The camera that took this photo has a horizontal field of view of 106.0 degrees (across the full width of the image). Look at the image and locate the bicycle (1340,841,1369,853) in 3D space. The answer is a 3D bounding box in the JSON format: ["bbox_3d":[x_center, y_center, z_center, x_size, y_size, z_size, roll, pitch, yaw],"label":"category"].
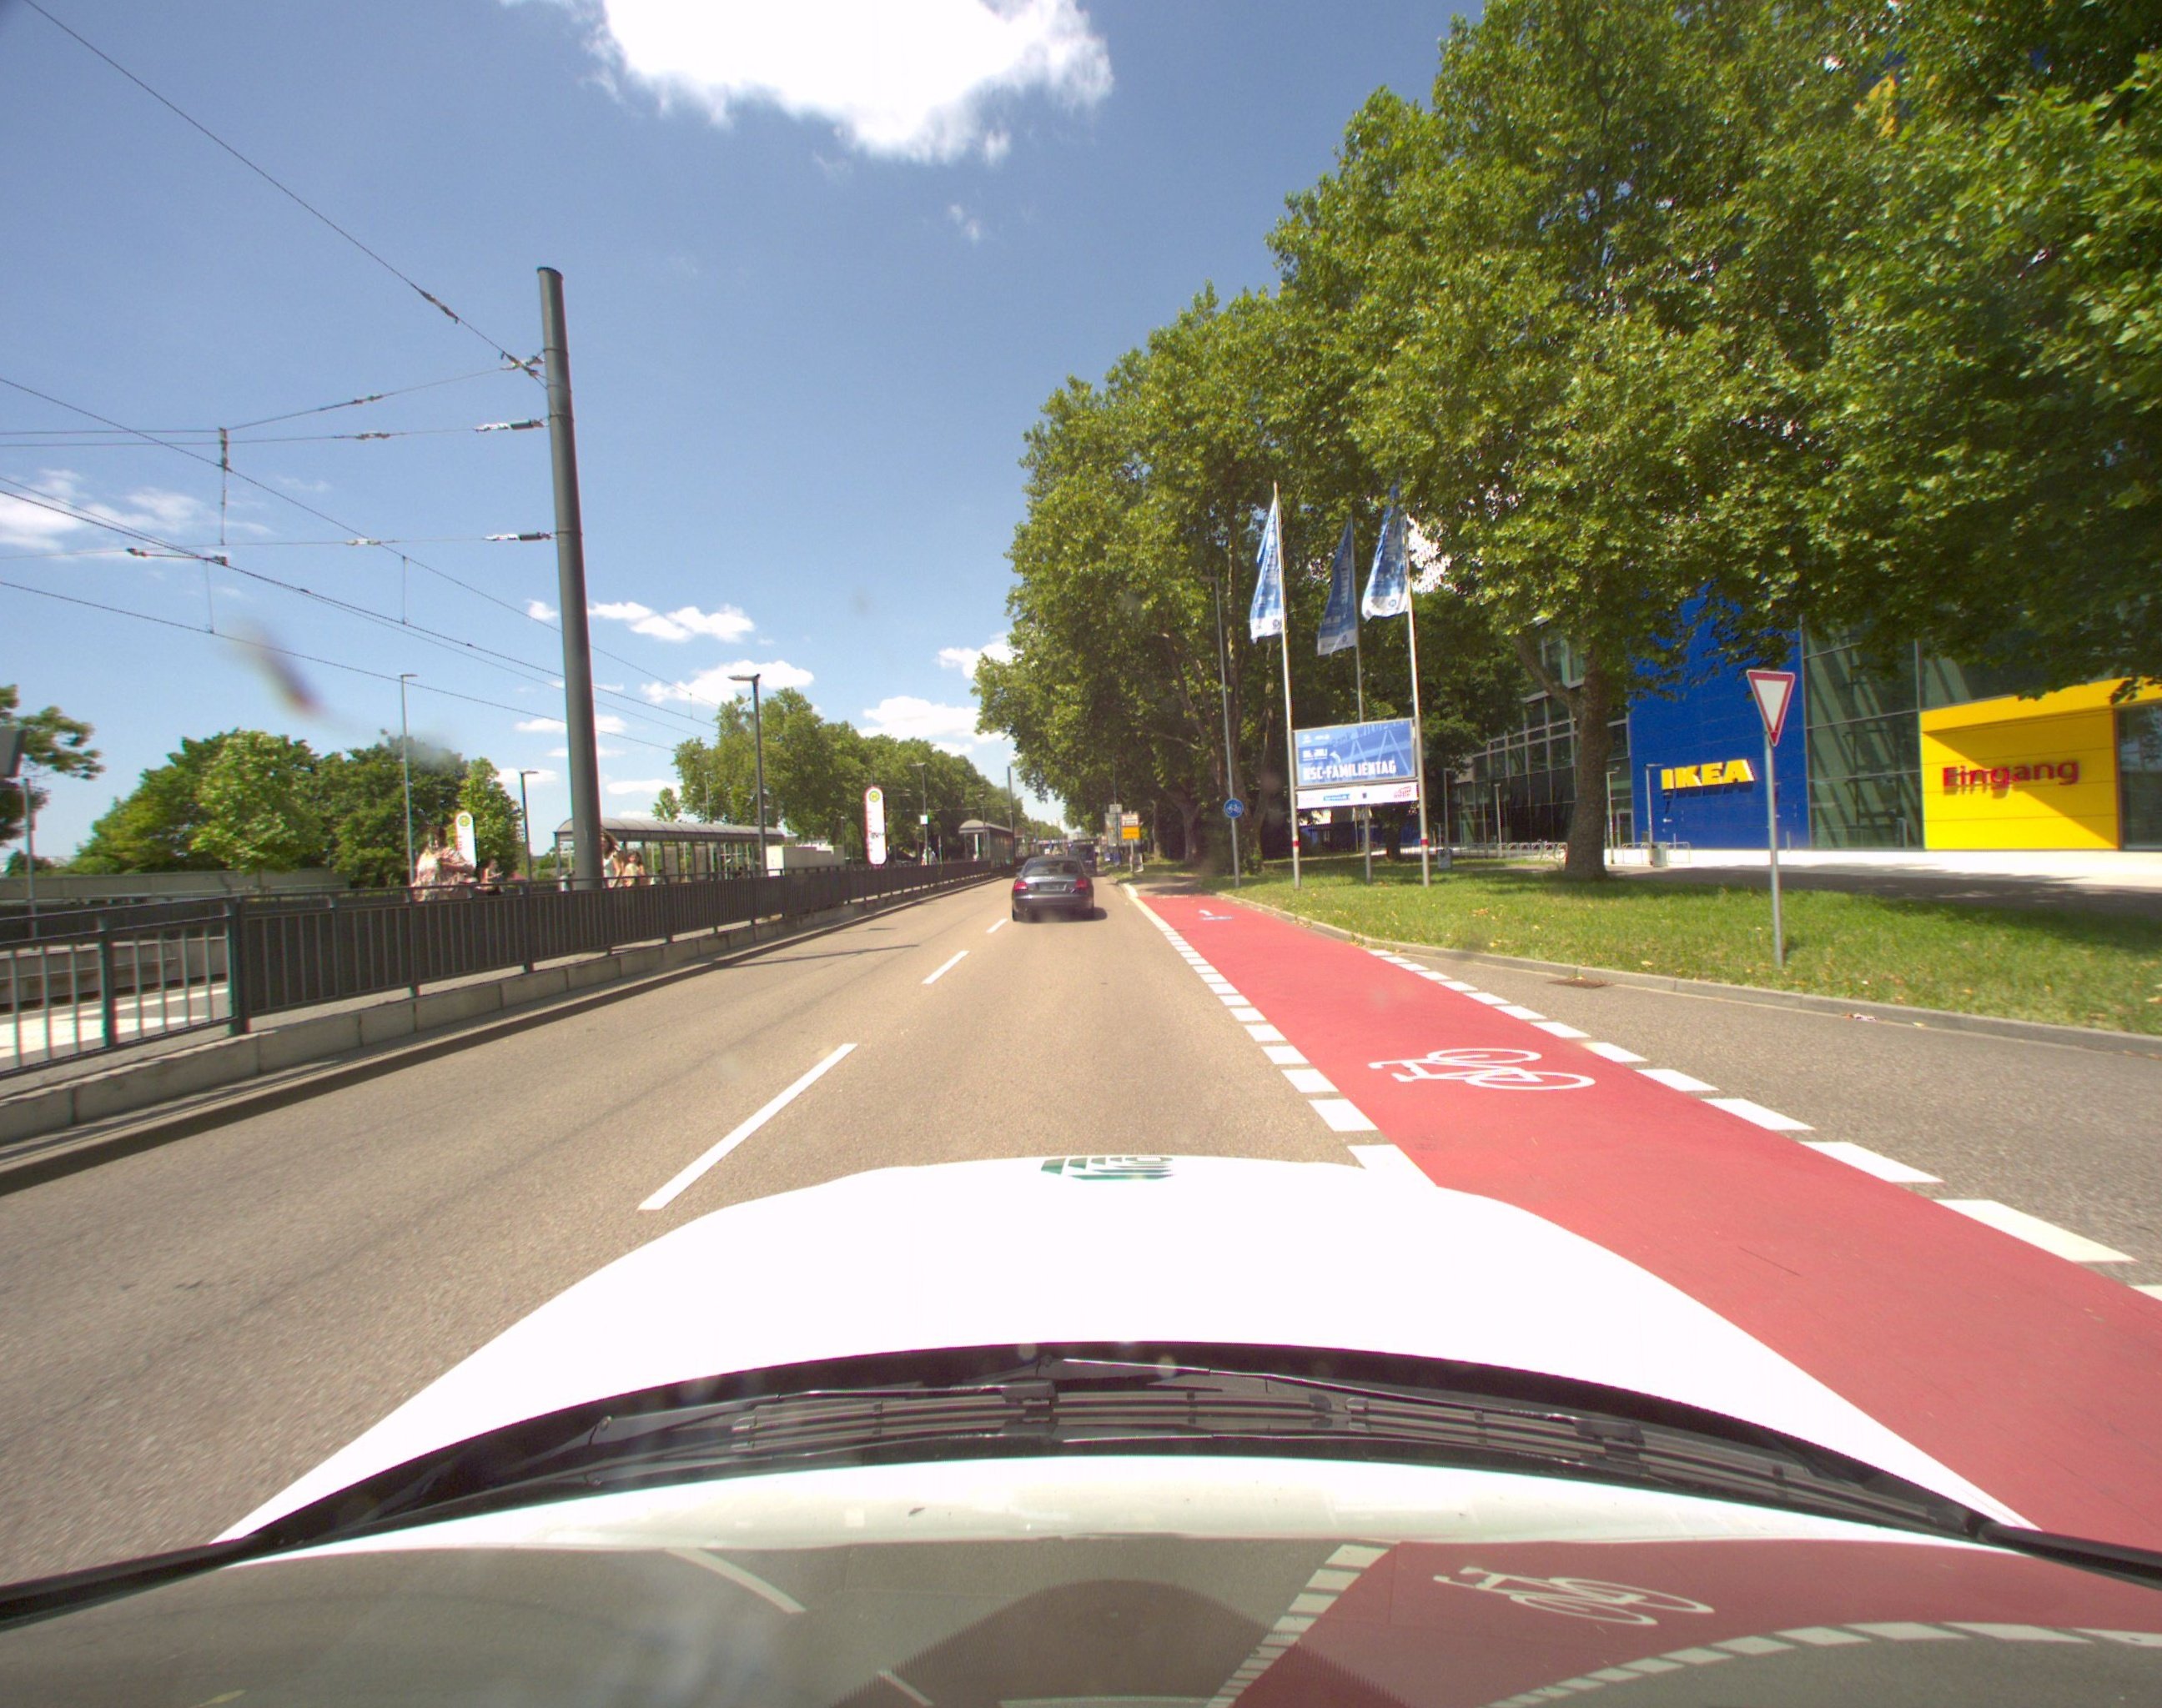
[{"bbox_3d":[26.618,-0.702,79.197,2.541,1.110,0.757,-2,0,-5],"label":"bicycle"}]

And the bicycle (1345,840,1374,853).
[{"bbox_3d":[26.641,-0.712,77.936,2.541,1.110,0.757,-2,0,-5],"label":"bicycle"}]

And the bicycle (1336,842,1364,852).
[{"bbox_3d":[26.573,-0.691,80.467,2.541,0.970,0.757,-2,0,-5],"label":"bicycle"}]

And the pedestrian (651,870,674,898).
[{"bbox_3d":[-17.241,1.244,33.546,0.574,1.094,0.639,-2,0,1],"label":"pedestrian"}]

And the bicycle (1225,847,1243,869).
[{"bbox_3d":[10.638,0.285,56.710,0.608,1.420,2.661,-4,0,0],"label":"bicycle"}]

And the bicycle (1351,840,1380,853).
[{"bbox_3d":[26.836,-0.725,76.847,2.541,1.110,0.757,-2,0,-5],"label":"bicycle"}]

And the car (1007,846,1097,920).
[{"bbox_3d":[-0.599,0.605,19.159,1.836,1.484,4.000,-2,0,0],"label":"car"}]

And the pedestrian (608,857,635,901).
[{"bbox_3d":[-17.436,0.954,30.896,0.817,1.638,0.582,-2,0,38],"label":"pedestrian"}]

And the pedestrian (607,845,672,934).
[{"bbox_3d":[-6.996,0.549,12.934,0.611,1.345,0.719,-1,0,-1],"label":"pedestrian"}]

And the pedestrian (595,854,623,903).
[{"bbox_3d":[-17.069,0.889,29.452,0.729,1.729,0.582,-2,0,38],"label":"pedestrian"}]

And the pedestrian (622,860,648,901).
[{"bbox_3d":[-17.351,1.012,31.666,0.574,1.533,0.639,-2,0,1],"label":"pedestrian"}]

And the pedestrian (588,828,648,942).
[{"bbox_3d":[-6.665,0.432,11.738,0.495,1.577,0.557,-2,0,-1],"label":"pedestrian"}]

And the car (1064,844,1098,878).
[{"bbox_3d":[0.037,0.410,50.151,1.841,1.959,4.147,-1,0,2],"label":"car"}]

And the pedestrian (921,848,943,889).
[{"bbox_3d":[-6.161,0.589,33.673,0.730,1.665,0.742,-2,0,0],"label":"pedestrian"}]

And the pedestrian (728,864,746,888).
[{"bbox_3d":[-17.356,1.100,41.117,0.574,1.190,0.639,-2,0,1],"label":"pedestrian"}]

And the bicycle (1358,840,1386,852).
[{"bbox_3d":[26.634,-0.739,74.561,2.311,0.960,0.757,-2,0,-5],"label":"bicycle"}]

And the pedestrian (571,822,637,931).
[{"bbox_3d":[-7.613,0.351,13.026,0.611,1.681,0.719,-1,0,-1],"label":"pedestrian"}]

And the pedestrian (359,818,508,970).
[{"bbox_3d":[-7.293,0.426,9.226,0.887,1.605,0.924,-2,0,-1],"label":"pedestrian"}]

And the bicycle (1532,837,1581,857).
[{"bbox_3d":[24.487,-0.358,41.969,2.055,0.969,0.868,-2,0,-4],"label":"bicycle"}]

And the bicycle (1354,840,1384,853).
[{"bbox_3d":[26.786,-0.731,75.860,2.541,1.110,0.757,-2,0,-5],"label":"bicycle"}]

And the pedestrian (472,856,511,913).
[{"bbox_3d":[-17.481,0.904,24.170,0.556,1.638,0.805,-2,0,-7],"label":"pedestrian"}]
